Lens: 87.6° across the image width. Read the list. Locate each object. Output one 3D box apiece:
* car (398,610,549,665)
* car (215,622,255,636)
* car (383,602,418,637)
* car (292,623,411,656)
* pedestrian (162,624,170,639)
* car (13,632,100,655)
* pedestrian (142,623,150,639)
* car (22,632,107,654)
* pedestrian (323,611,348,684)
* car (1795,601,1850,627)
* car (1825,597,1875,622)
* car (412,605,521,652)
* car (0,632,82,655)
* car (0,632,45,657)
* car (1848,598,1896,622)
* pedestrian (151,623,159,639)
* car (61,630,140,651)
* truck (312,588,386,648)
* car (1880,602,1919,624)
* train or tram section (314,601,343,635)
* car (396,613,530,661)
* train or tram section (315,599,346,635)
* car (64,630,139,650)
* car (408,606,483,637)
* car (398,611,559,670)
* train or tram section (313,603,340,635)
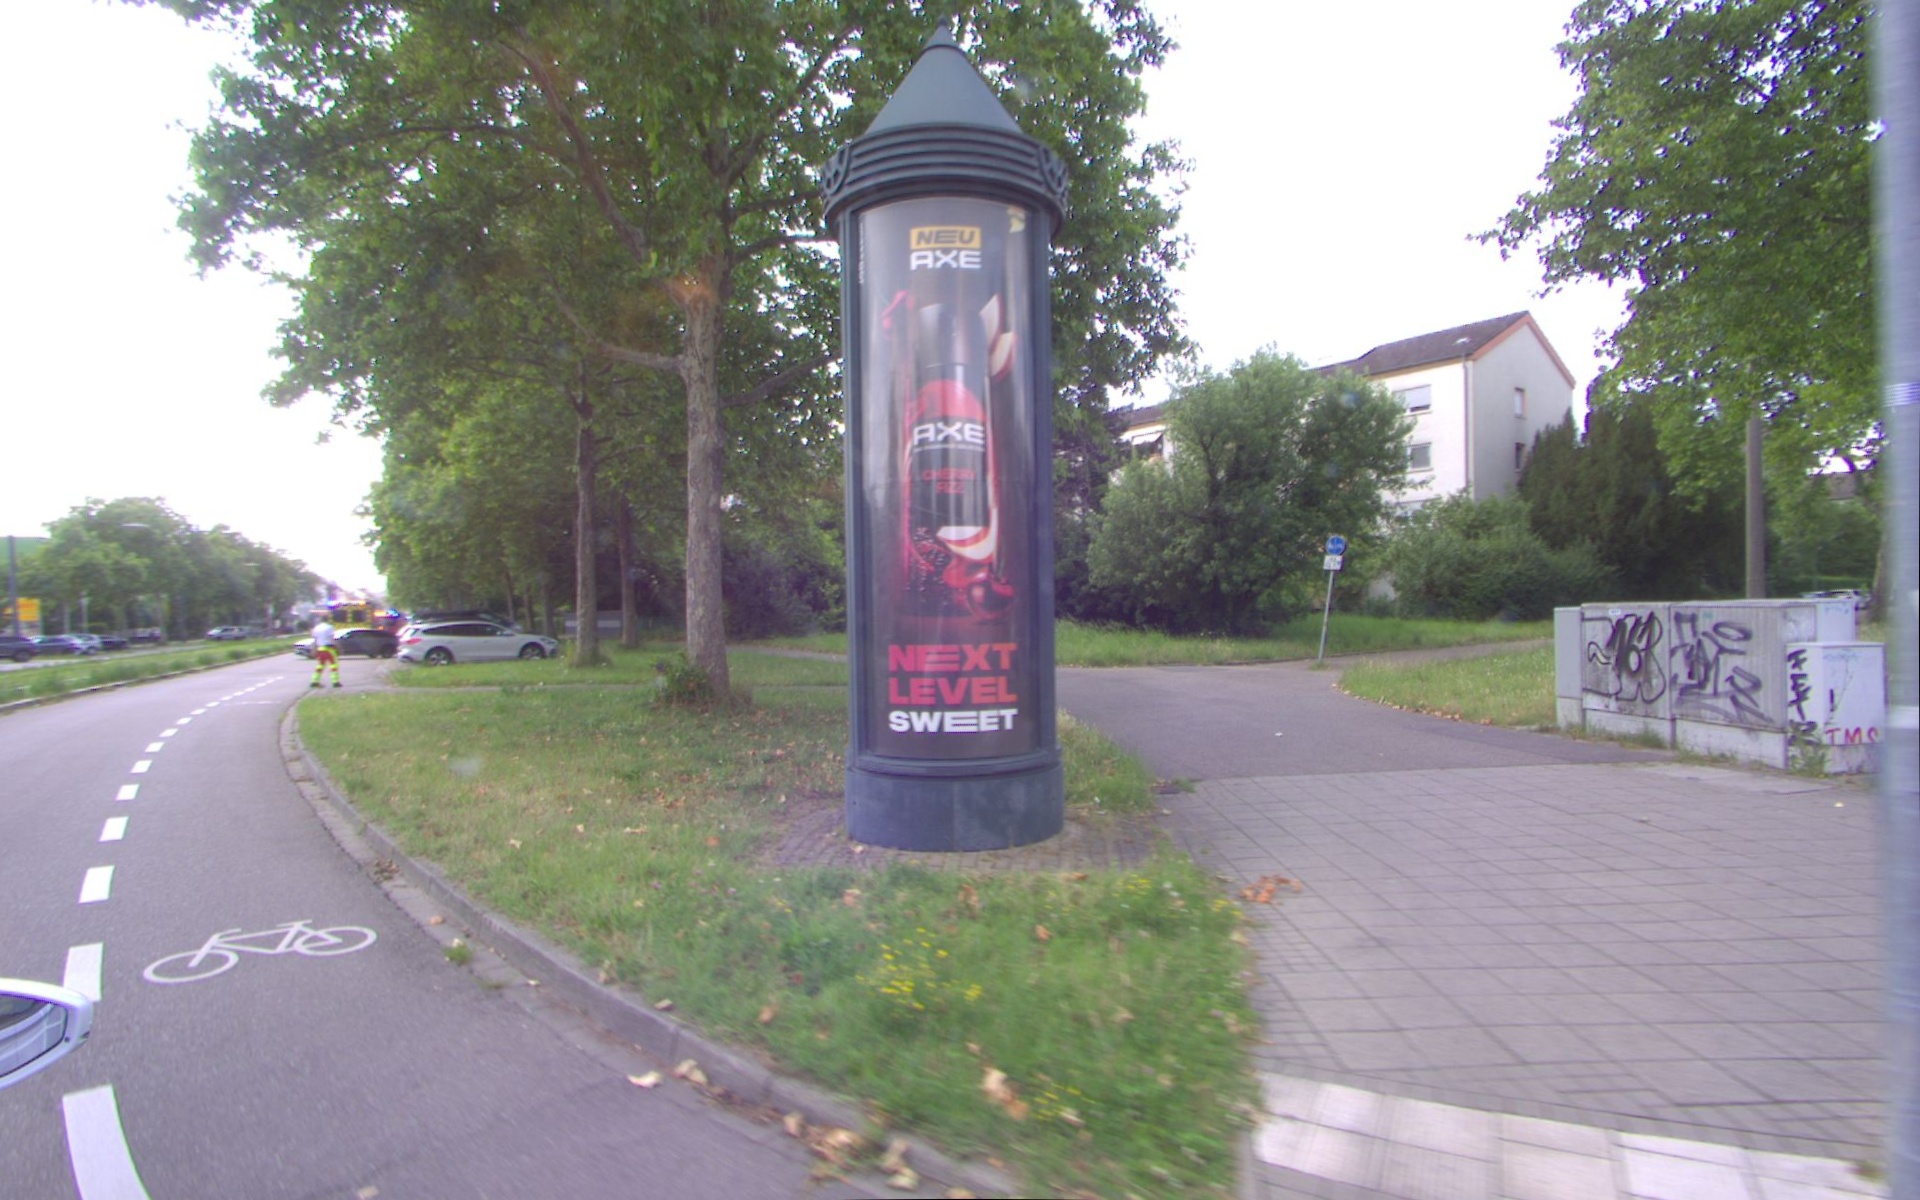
[{"bbox_3d":[-16.638,1.269,34.258,4.478,1.665,1.990,-1,-1,-31],"label":"car"},{"bbox_3d":[-98.224,3.984,135.709,1.795,1.861,3.983,-1,-2,30],"label":"car"},{"bbox_3d":[-56.563,2.026,101.206,2.933,3.372,7.423,1,-2,-30],"label":"car"},{"bbox_3d":[-29.375,1.876,48.455,1.819,1.411,4.572,-1,-1,39],"label":"car"},{"bbox_3d":[-91.833,3.602,115.782,0.613,1.751,0.643,1,-1,-29],"label":"pedestrian"},{"bbox_3d":[-62.991,3.001,69.882,1.879,1.382,4.282,-1,0,39],"label":"car"},{"bbox_3d":[-92.913,3.549,114.334,0.613,1.751,0.643,1,-1,-29],"label":"pedestrian"},{"bbox_3d":[-64.399,3.074,72.047,1.879,1.382,4.282,-1,0,39],"label":"car"},{"bbox_3d":[-14.940,1.134,23.948,0.487,1.706,0.584,-1,-1,-32],"label":"pedestrian"},{"bbox_3d":[54.627,0.912,63.432,3.609,1.616,1.765,1,-2,-34],"label":"car"},{"bbox_3d":[61.362,0.661,69.030,3.609,1.616,1.765,1,-2,-34],"label":"car"},{"bbox_3d":[-23.423,1.324,47.585,4.488,2.040,1.991,-1,-1,-28],"label":"car"},{"bbox_3d":[-61.637,2.902,66.854,1.879,1.382,4.282,-1,0,39],"label":"car"},{"bbox_3d":[-56.239,2.607,58.144,1.878,1.381,4.285,-1,0,37],"label":"car"},{"bbox_3d":[65.149,0.755,71.507,3.609,1.616,1.765,1,-2,-34],"label":"car"},{"bbox_3d":[-92.077,3.558,114.524,0.613,1.751,0.643,1,-1,-29],"label":"pedestrian"},{"bbox_3d":[-65.251,3.061,76.071,1.879,1.382,4.282,-1,0,39],"label":"car"},{"bbox_3d":[-36.613,1.060,60.230,3.145,3.361,7.490,-1,0,-27],"label":"truck"},{"bbox_3d":[73.691,1.010,78.311,3.609,1.616,1.765,1,-2,-34],"label":"car"},{"bbox_3d":[-71.510,2.014,113.356,2.463,3.644,7.374,-1,0,-34],"label":"train or tram section"},{"bbox_3d":[-19.210,1.399,38.727,4.478,1.665,1.990,-1,-1,-31],"label":"car"},{"bbox_3d":[-67.435,1.813,107.237,2.463,3.644,7.374,-1,0,-34],"label":"train or tram section"},{"bbox_3d":[-68.230,3.179,79.646,1.879,1.382,4.282,-1,0,39],"label":"car"},{"bbox_3d":[-59.037,2.510,114.994,7.362,3.372,2.957,1,-2,-34],"label":"car"},{"bbox_3d":[-15.376,1.258,32.016,4.478,1.665,1.990,-1,-1,-31],"label":"car"},{"bbox_3d":[-75.563,2.219,119.471,2.463,3.644,7.374,-1,0,-34],"label":"train or tram section"}]
